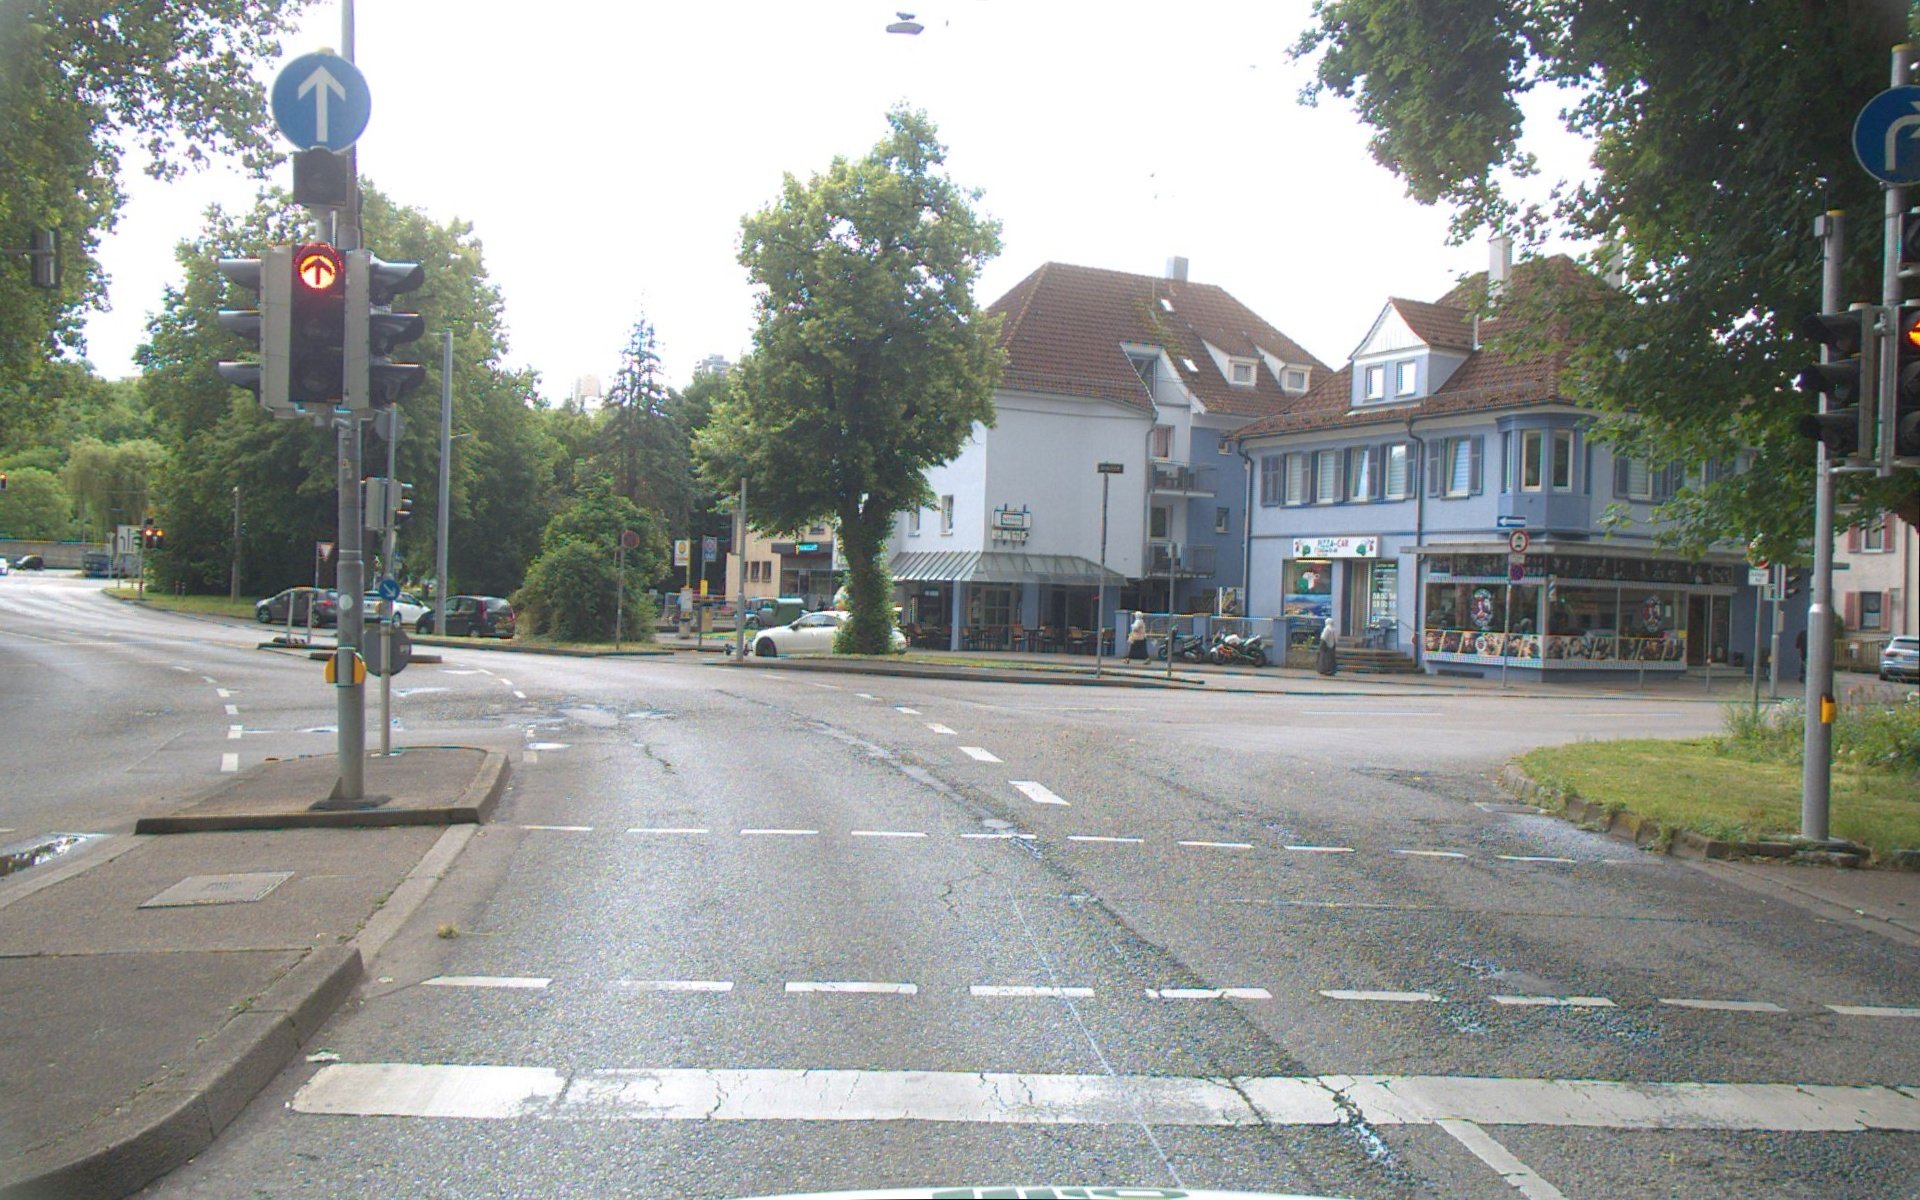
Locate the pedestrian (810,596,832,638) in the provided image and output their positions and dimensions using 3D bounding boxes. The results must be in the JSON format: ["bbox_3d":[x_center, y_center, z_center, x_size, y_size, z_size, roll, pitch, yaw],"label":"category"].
[{"bbox_3d":[-6.793,0.831,80.823,0.823,2.049,1.052,1,0,-15],"label":"pedestrian"}]

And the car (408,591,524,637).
[{"bbox_3d":[-15.912,0.451,53.259,3.252,1.376,1.778,1,0,27],"label":"car"}]

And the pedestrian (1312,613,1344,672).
[{"bbox_3d":[10.088,1.152,45.301,0.681,1.587,0.665,0,-1,30],"label":"pedestrian"}]

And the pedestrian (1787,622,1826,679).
[{"bbox_3d":[23.985,1.415,46.856,0.659,1.587,0.743,1,-1,-15],"label":"pedestrian"}]

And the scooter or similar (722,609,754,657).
[{"bbox_3d":[-5.699,0.832,42.504,0.433,1.195,1.439,1,0,8],"label":"scooter or similar"}]

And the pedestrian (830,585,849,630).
[{"bbox_3d":[-4.301,0.274,59.143,0.531,1.587,0.468,0,-1,13],"label":"pedestrian"}]

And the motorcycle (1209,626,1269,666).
[{"bbox_3d":[8.169,1.342,48.455,1.595,1.107,0.625,1,0,32],"label":"motorcycle"}]

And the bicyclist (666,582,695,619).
[{"bbox_3d":[-13.219,0.025,78.352,0.901,1.680,0.983,1,0,40],"label":"bicyclist"}]

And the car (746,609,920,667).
[{"bbox_3d":[-3.530,1.024,45.678,4.618,1.435,1.896,1,0,35],"label":"car"}]

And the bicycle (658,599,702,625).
[{"bbox_3d":[-13.248,0.573,78.341,0.860,1.169,1.943,1,0,38],"label":"bicycle"}]

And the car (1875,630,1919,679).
[{"bbox_3d":[29.700,1.691,51.684,1.849,1.415,3.608,1,0,28],"label":"car"}]

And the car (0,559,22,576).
[{"bbox_3d":[-88.696,-3.017,153.938,2.970,1.442,1.492,0,-2,40],"label":"car"}]

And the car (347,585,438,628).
[{"bbox_3d":[-22.730,0.264,66.400,1.821,1.668,3.757,1,0,10],"label":"car"}]

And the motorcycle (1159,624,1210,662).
[{"bbox_3d":[6.816,1.291,50.205,1.430,1.107,0.522,1,0,35],"label":"motorcycle"}]

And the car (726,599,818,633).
[{"bbox_3d":[-8.578,0.739,75.475,3.880,1.467,1.742,1,0,-21],"label":"car"}]

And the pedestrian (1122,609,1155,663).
[{"bbox_3d":[5.323,1.070,49.331,0.717,1.587,0.767,0,-1,30],"label":"pedestrian"}]

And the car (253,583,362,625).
[{"bbox_3d":[-25.005,0.158,63.417,3.695,1.491,1.622,1,0,18],"label":"car"}]
